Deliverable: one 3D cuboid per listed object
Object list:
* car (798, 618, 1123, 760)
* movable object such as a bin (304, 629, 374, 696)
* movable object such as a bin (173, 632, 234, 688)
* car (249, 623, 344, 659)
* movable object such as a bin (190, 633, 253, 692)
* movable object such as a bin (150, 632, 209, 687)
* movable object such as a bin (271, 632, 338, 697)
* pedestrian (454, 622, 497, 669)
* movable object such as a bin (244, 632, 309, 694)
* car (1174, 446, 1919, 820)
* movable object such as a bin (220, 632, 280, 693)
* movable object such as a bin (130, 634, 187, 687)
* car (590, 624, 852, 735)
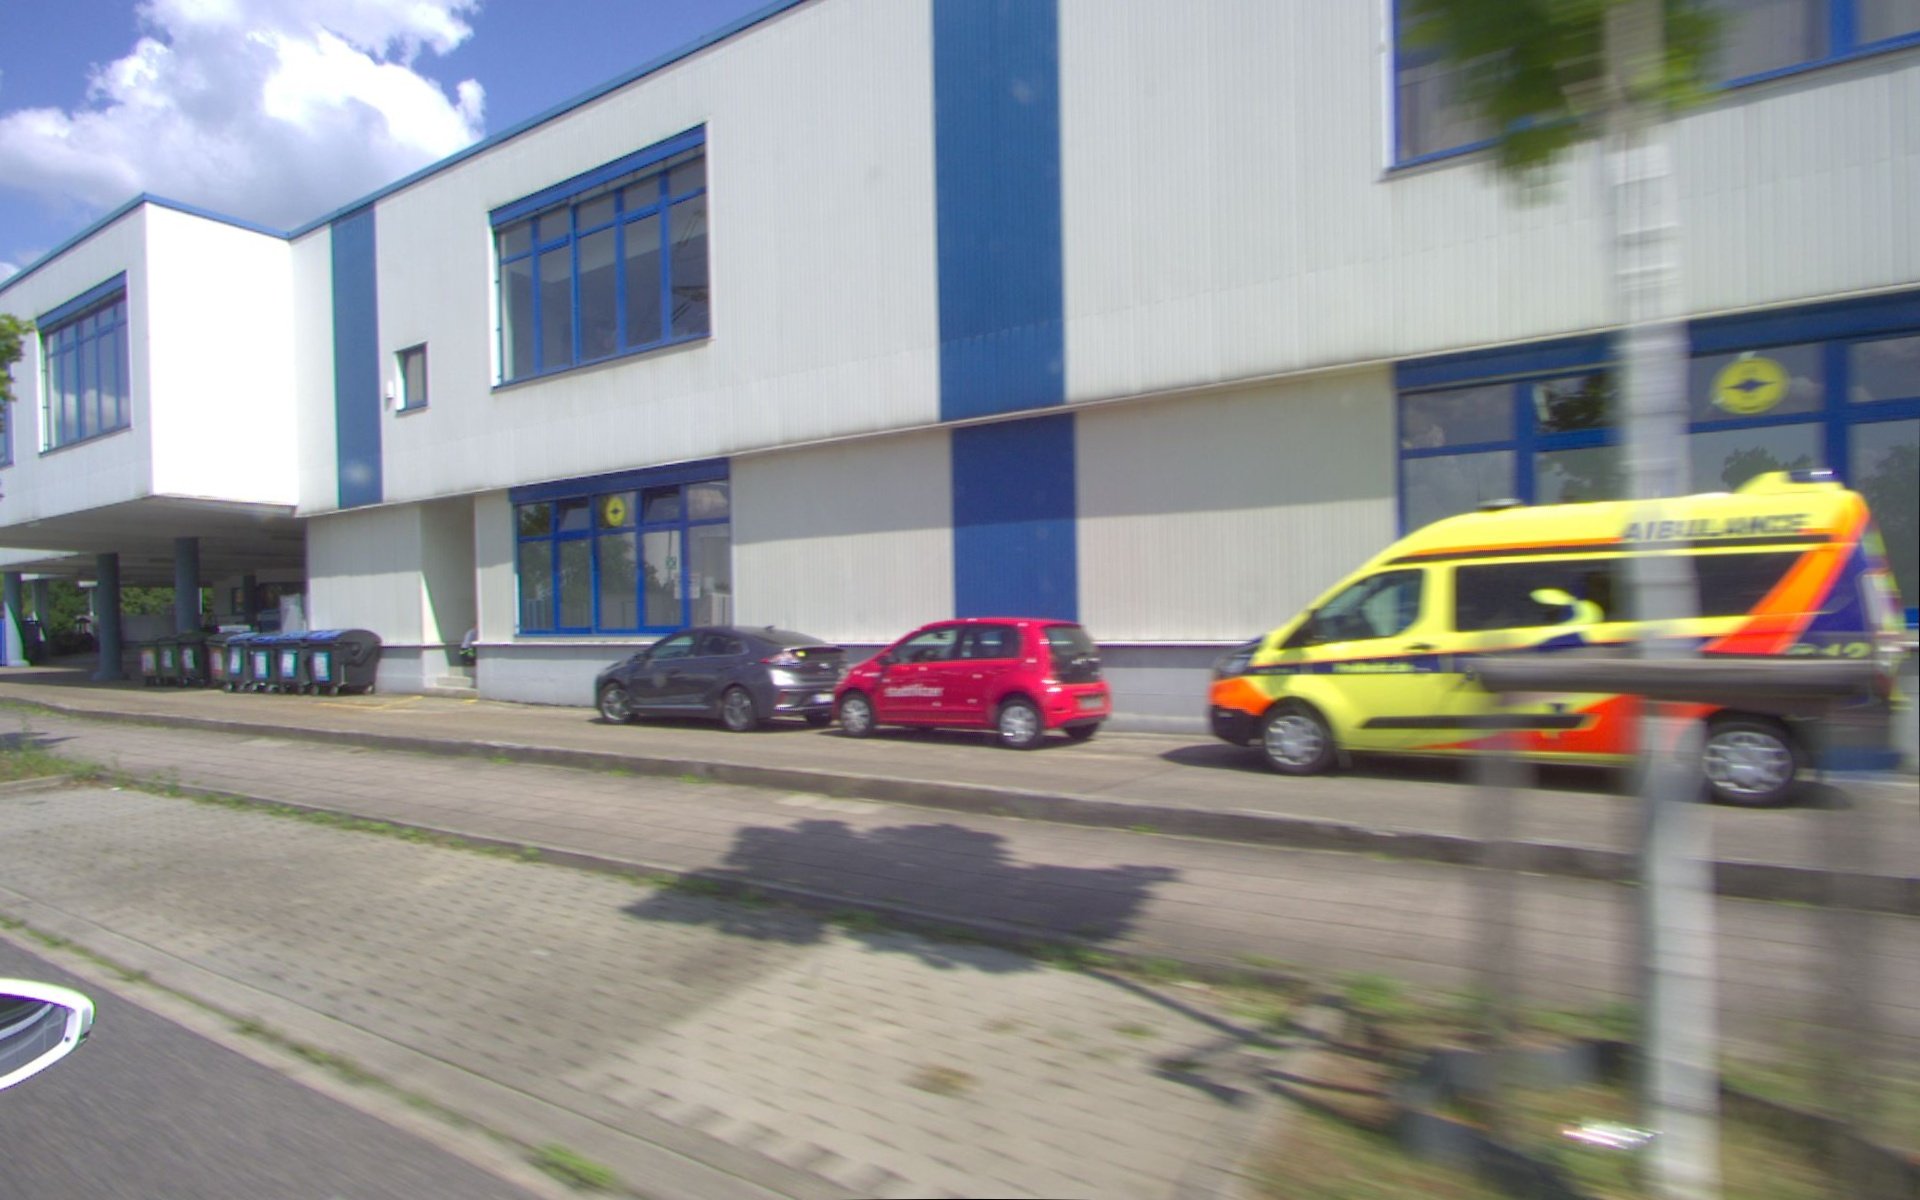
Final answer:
[{"bbox_3d":[-0.053,1.019,12.396,3.763,1.510,1.569,-2,-1,33],"label":"car"},{"bbox_3d":[-13.763,1.377,22.188,1.338,1.432,0.803,-2,-1,32],"label":"movable object such as a bin"},{"bbox_3d":[-19.780,1.556,26.164,1.385,1.432,0.803,-2,-1,30],"label":"movable object such as a bin"},{"bbox_3d":[-29.515,1.798,44.695,1.807,1.566,3.664,0,-1,0],"label":"car"},{"bbox_3d":[-18.568,1.558,25.178,1.406,1.432,0.803,-2,-1,30],"label":"movable object such as a bin"},{"bbox_3d":[-20.983,1.587,26.913,1.338,1.432,0.803,-2,-1,30],"label":"movable object such as a bin"},{"bbox_3d":[-15.049,1.460,22.984,1.338,1.432,0.803,-2,-1,32],"label":"movable object such as a bin"},{"bbox_3d":[-10.749,1.013,22.200,0.700,1.026,0.563,-2,-3,33],"label":"pedestrian"},{"bbox_3d":[-16.223,1.486,23.777,1.338,1.432,0.803,-2,-1,32],"label":"movable object such as a bin"},{"bbox_3d":[4.730,0.305,8.894,5.186,2.495,1.920,-2,-1,33],"label":"car"},{"bbox_3d":[-17.338,1.509,24.449,1.157,1.432,0.803,-1,-1,30],"label":"movable object such as a bin"},{"bbox_3d":[-22.174,1.669,27.709,1.338,1.432,0.803,-2,-1,30],"label":"movable object such as a bin"},{"bbox_3d":[-3.531,1.098,14.571,3.800,1.421,1.493,-2,-1,33],"label":"car"}]
